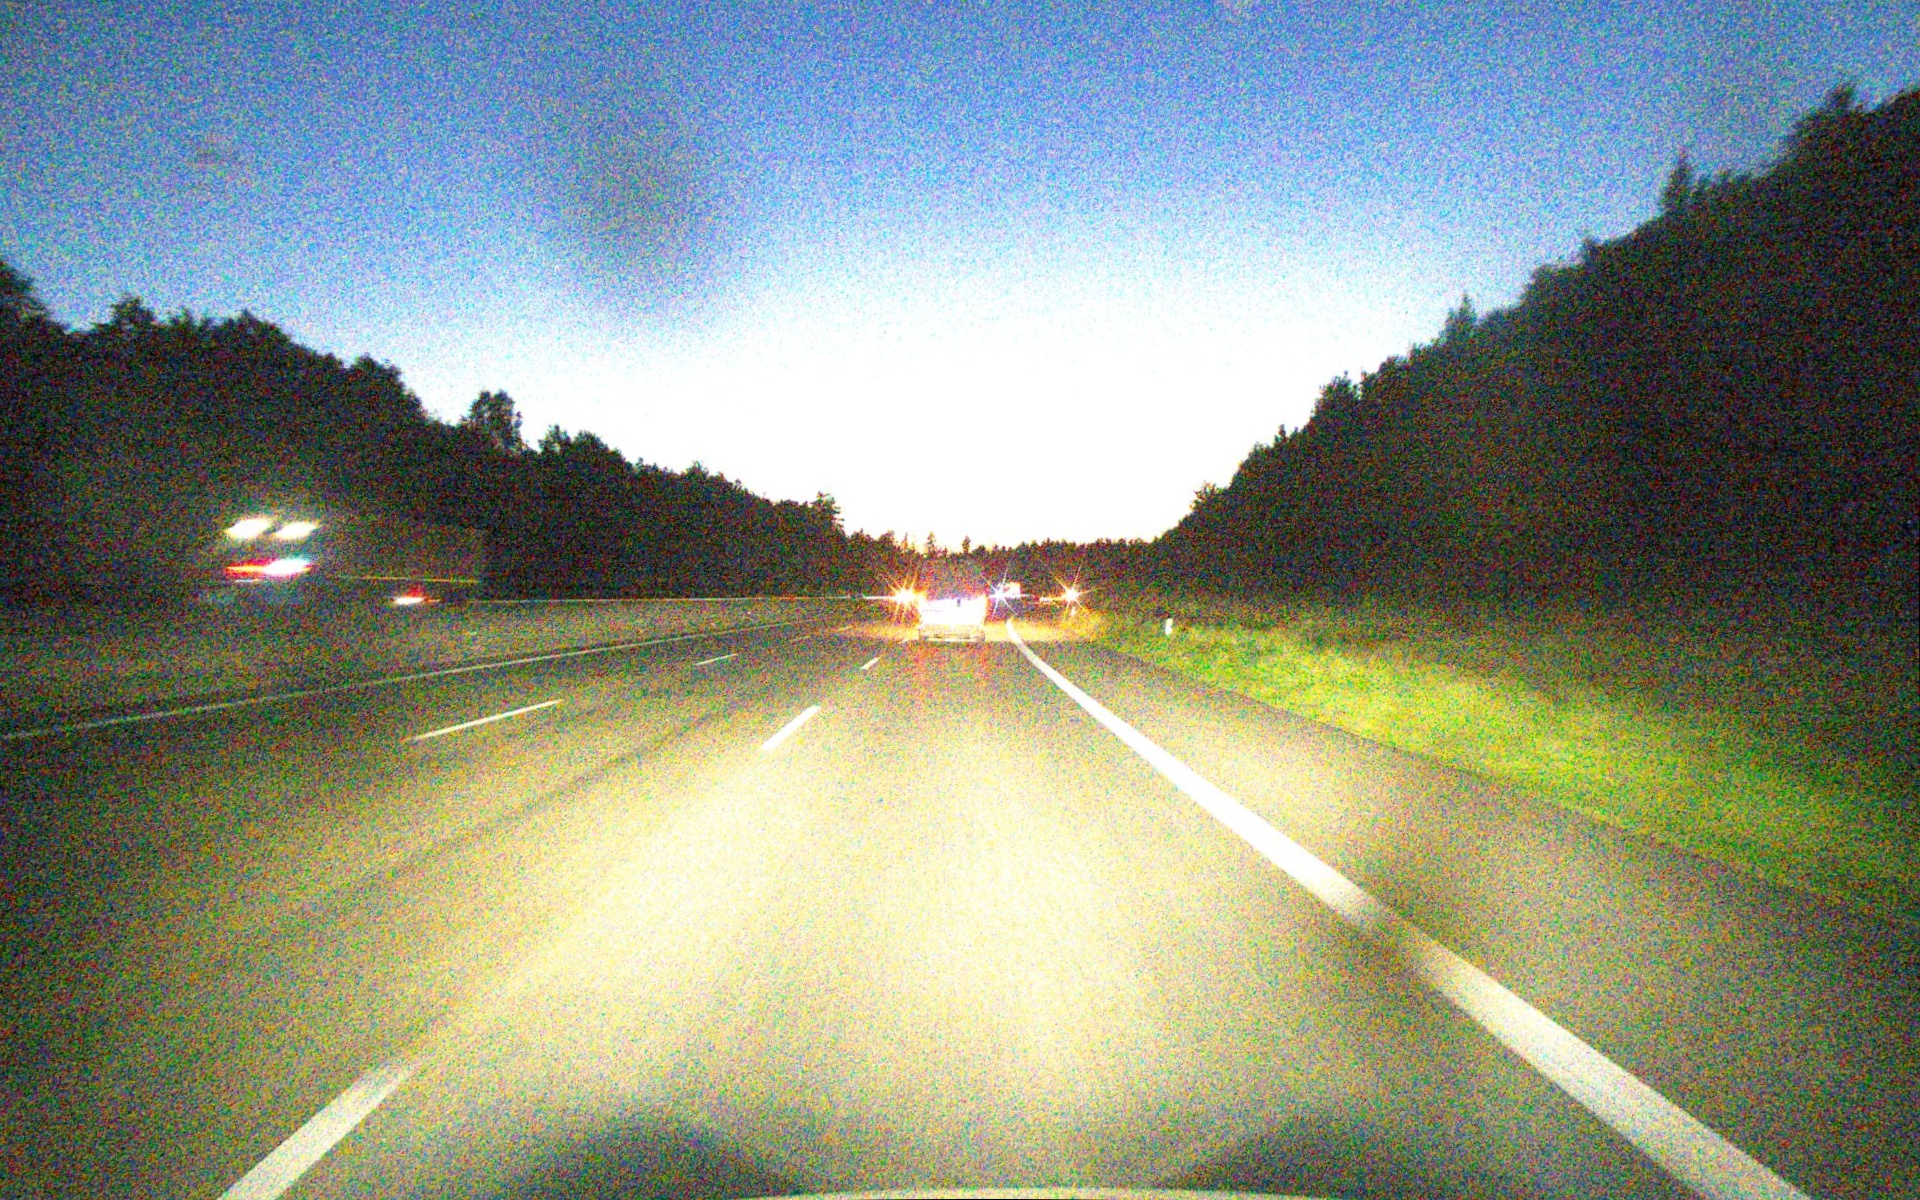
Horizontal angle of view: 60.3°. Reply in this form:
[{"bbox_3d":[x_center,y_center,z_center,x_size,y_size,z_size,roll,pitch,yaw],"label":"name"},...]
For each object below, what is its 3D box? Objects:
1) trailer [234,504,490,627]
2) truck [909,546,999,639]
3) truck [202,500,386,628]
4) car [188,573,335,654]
[{"bbox_3d":[-22.400,-1.103,63.841,3.470,4.070,17.282,0,0,0],"label":"trailer"},{"bbox_3d":[-0.160,-0.206,52.077,2.576,2.670,8.684,0,0,0],"label":"truck"},{"bbox_3d":[-22.467,-1.139,56.247,3.430,4.039,6.700,0,0,1],"label":"truck"},{"bbox_3d":[-15.302,0.283,36.440,1.710,1.674,3.741,0,0,-1],"label":"car"}]
